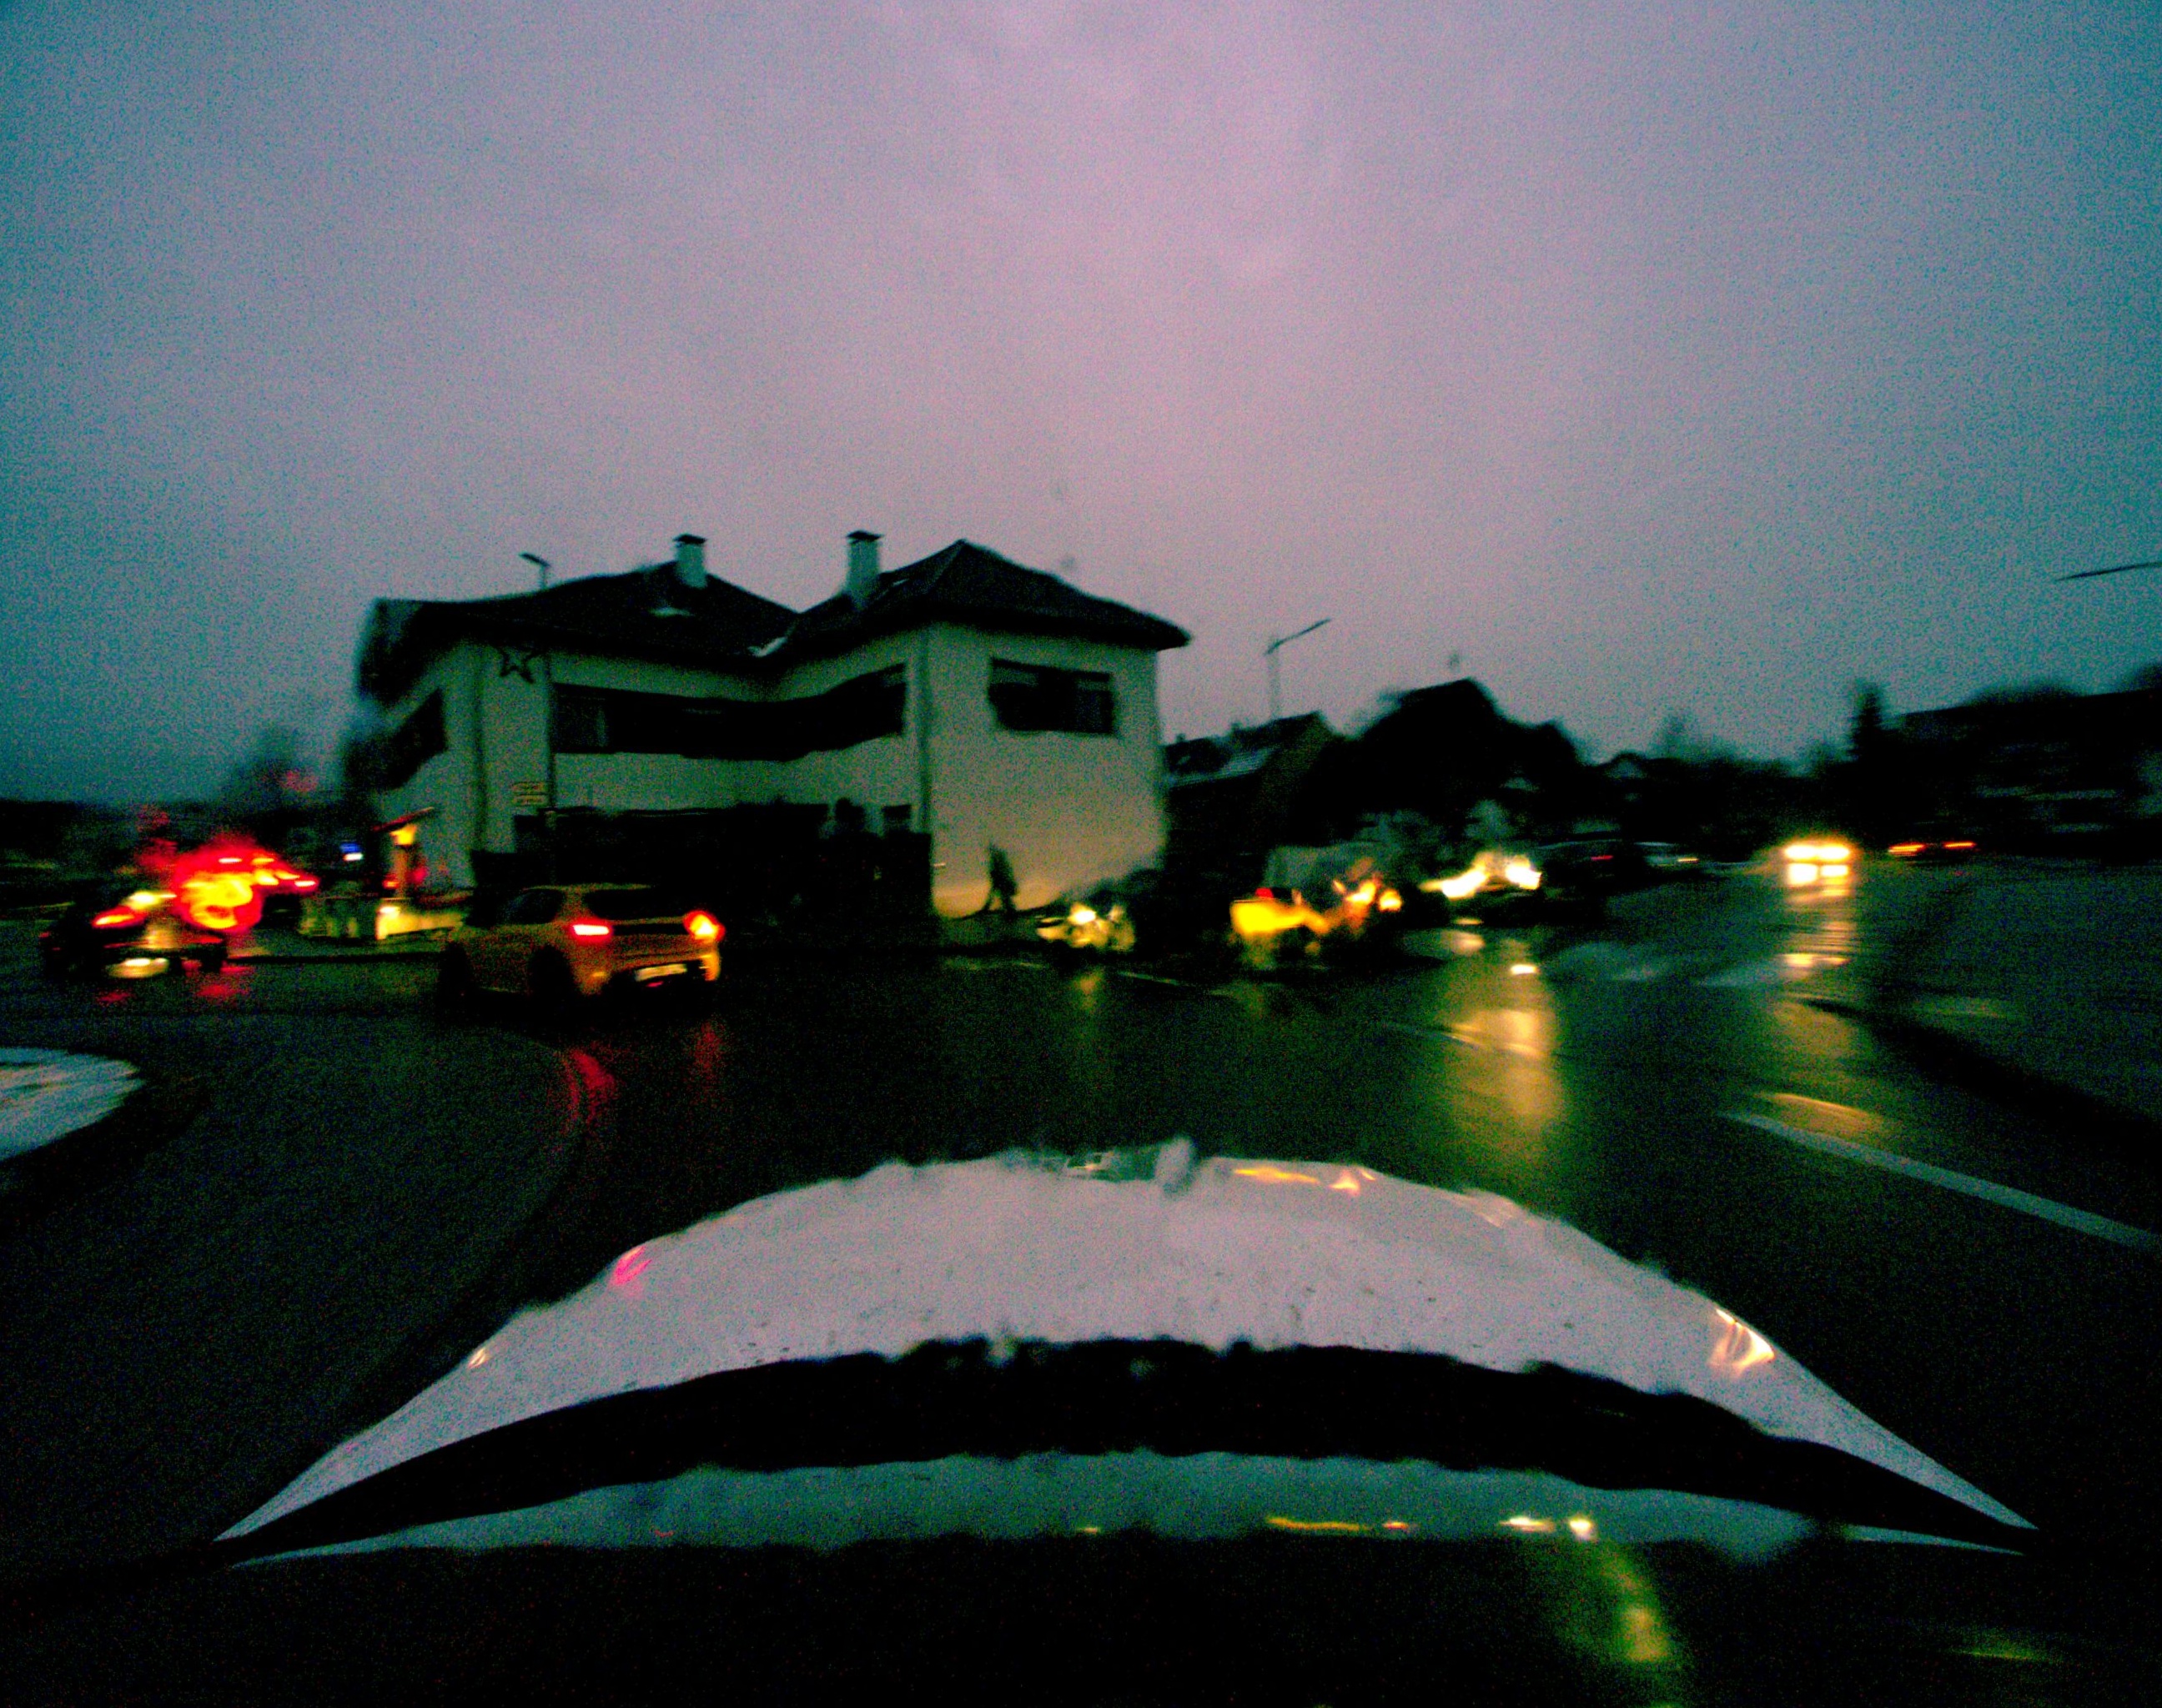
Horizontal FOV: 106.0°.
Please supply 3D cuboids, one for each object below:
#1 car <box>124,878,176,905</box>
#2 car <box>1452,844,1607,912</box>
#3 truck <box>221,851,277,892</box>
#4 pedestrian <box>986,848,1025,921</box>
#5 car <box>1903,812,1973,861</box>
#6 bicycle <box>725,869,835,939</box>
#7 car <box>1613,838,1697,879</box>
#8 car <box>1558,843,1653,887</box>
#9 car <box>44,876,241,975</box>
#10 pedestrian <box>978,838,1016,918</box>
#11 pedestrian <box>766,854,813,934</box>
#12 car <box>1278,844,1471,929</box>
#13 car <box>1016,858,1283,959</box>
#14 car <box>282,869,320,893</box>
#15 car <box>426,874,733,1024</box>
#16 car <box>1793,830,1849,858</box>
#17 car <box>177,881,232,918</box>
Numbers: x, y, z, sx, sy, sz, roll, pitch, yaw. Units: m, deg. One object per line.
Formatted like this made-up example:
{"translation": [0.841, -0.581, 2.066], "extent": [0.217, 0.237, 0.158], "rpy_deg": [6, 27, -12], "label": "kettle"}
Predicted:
{"translation": [-58.377, 2.314, 51.138], "extent": [1.756, 1.568, 4.011], "rpy_deg": [-1, 0, -44], "label": "car"}
{"translation": [11.540, 0.573, 20.870], "extent": [4.275, 1.508, 1.679], "rpy_deg": [-2, -1, -34], "label": "car"}
{"translation": [-64.884, 1.320, 63.621], "extent": [2.739, 3.010, 5.919], "rpy_deg": [-2, 1, -43], "label": "truck"}
{"translation": [-1.739, 0.690, 18.702], "extent": [0.718, 1.621, 0.578], "rpy_deg": [-2, 0, -22], "label": "pedestrian"}
{"translation": [40.050, -0.808, 38.086], "extent": [4.928, 2.014, 1.975], "rpy_deg": [-2, -4, -43], "label": "car"}
{"translation": [-5.996, 0.981, 16.290], "extent": [1.930, 1.295, 0.551], "rpy_deg": [-1, 2, -1], "label": "bicycle"}
{"translation": [23.360, 0.156, 33.092], "extent": [3.733, 1.550, 1.655], "rpy_deg": [-2, 1, -36], "label": "car"}
{"translation": [19.489, 0.385, 30.212], "extent": [3.725, 1.465, 1.709], "rpy_deg": [-2, 1, -36], "label": "car"}
{"translation": [-18.374, 1.287, 15.926], "extent": [3.899, 1.615, 1.934], "rpy_deg": [-1, 1, 32], "label": "car"}
{"translation": [-2.001, 0.550, 19.354], "extent": [0.718, 1.831, 0.633], "rpy_deg": [-2, 2, -22], "label": "pedestrian"}
{"translation": [-5.910, 0.795, 16.527], "extent": [0.687, 1.564, 0.610], "rpy_deg": [-2, 1, -2], "label": "pedestrian"}
{"translation": [6.178, 0.618, 17.000], "extent": [4.015, 1.552, 1.679], "rpy_deg": [-1, -2, -33], "label": "car"}
{"translation": [1.221, 0.856, 14.013], "extent": [4.248, 1.384, 1.832], "rpy_deg": [-2, -2, -31], "label": "car"}
{"translation": [-51.835, 1.750, 54.169], "extent": [1.706, 1.467, 3.673], "rpy_deg": [-2, 1, -43], "label": "car"}
{"translation": [-6.184, 1.029, 9.910], "extent": [3.960, 1.422, 1.726], "rpy_deg": [-3, -1, 35], "label": "car"}
{"translation": [41.022, -0.550, 45.123], "extent": [4.022, 1.453, 1.860], "rpy_deg": [-2, 1, -41], "label": "car"}
{"translation": [-44.389, 2.254, 41.311], "extent": [3.950, 1.632, 1.738], "rpy_deg": [-1, 1, 45], "label": "car"}
